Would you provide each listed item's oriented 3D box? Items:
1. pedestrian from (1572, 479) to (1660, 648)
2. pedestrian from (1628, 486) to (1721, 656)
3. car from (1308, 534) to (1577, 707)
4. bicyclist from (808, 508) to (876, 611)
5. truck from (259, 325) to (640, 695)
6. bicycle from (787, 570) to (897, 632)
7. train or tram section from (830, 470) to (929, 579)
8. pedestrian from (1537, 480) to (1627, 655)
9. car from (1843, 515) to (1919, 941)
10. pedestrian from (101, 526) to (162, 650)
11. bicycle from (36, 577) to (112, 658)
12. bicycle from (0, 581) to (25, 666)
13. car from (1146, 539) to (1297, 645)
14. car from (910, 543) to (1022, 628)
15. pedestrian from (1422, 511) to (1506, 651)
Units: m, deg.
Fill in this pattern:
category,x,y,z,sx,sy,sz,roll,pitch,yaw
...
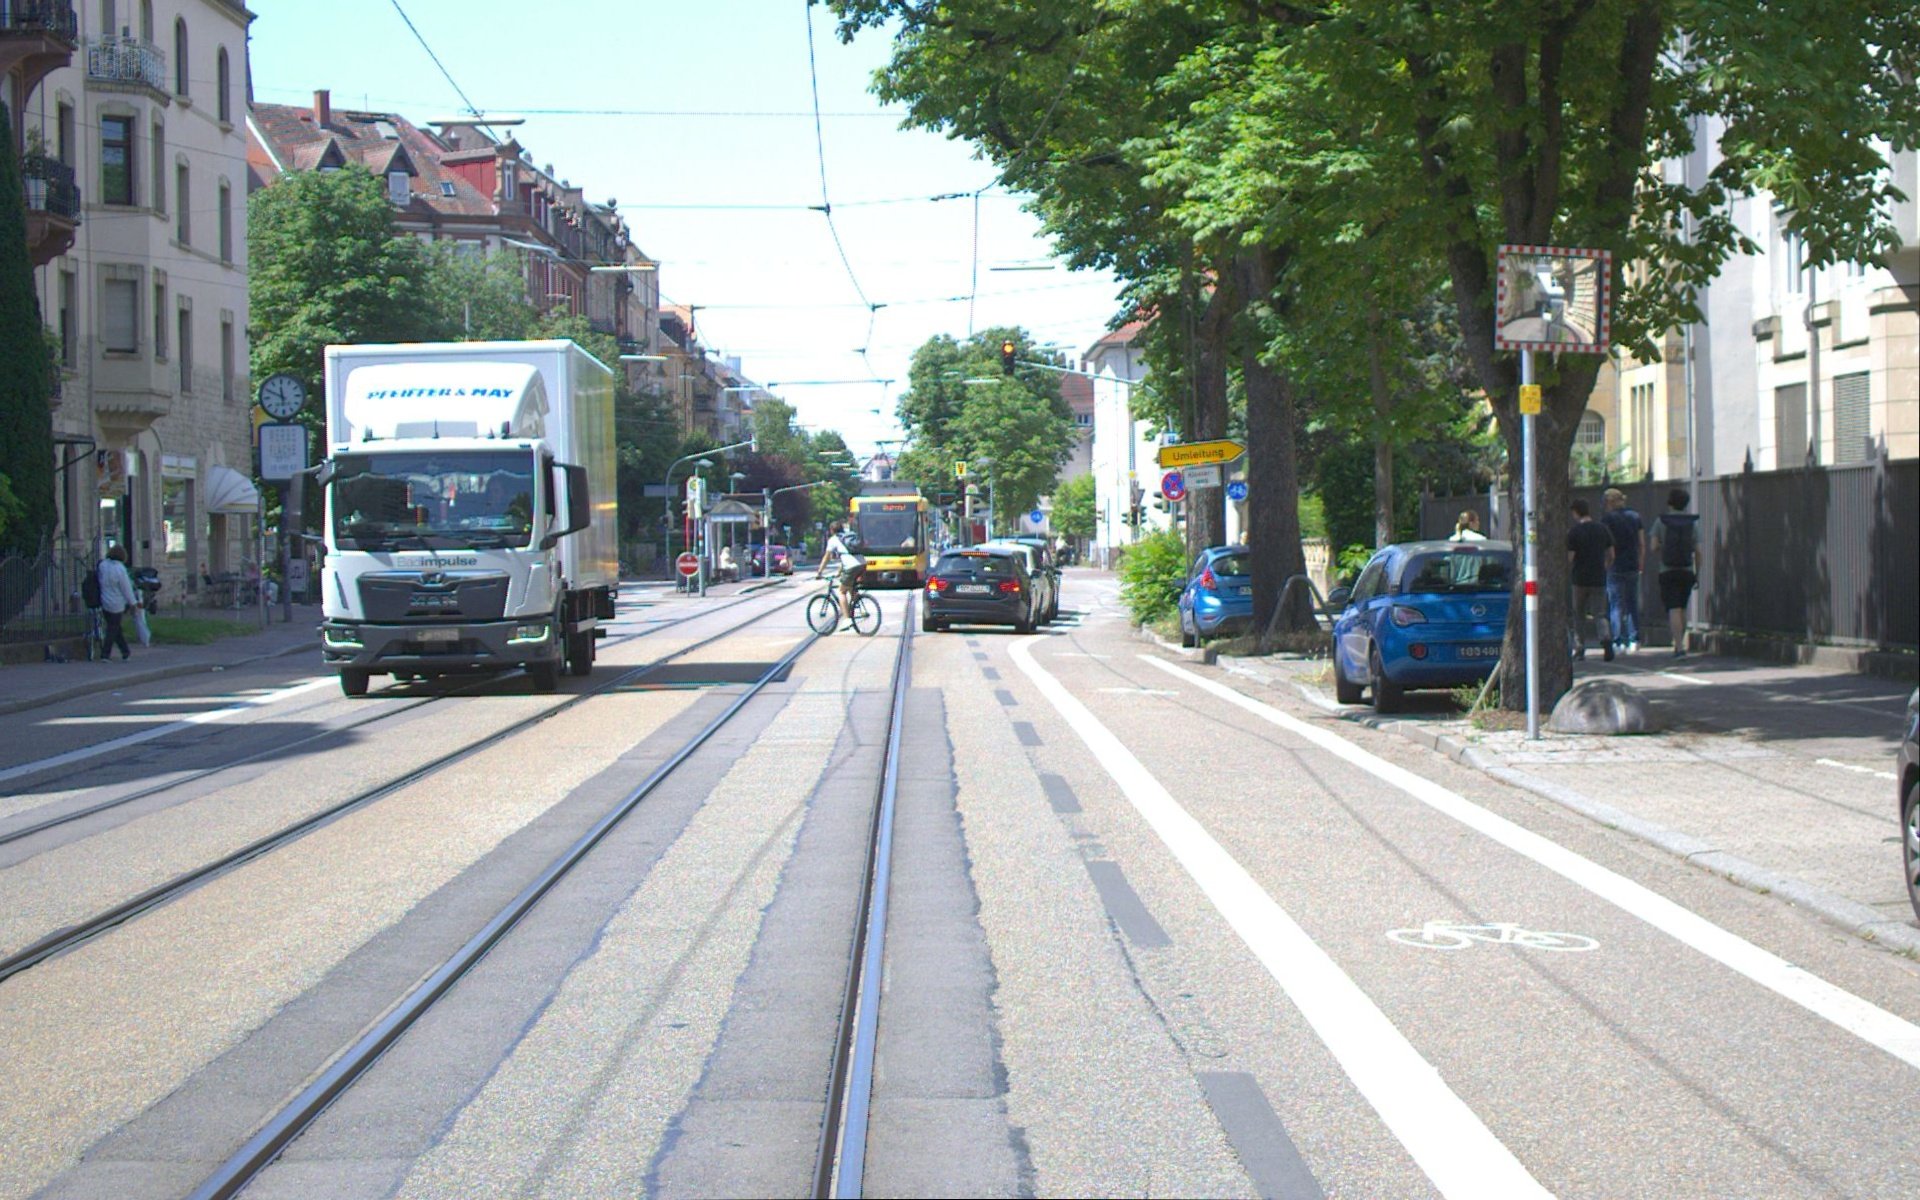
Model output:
category,x,y,z,sx,sy,sz,roll,pitch,yaw
pedestrian,7.304,-0.399,38.310,0.808,1.853,0.623,-1,-1,-2
pedestrian,7.532,-0.306,36.272,0.808,1.769,0.623,-1,-1,-2
car,4.310,0.151,31.283,1.710,1.418,4.310,-1,1,-1
bicyclist,-1.864,-0.632,54.254,0.864,1.610,0.622,0,-1,41
truck,-5.351,-0.980,37.653,2.939,3.538,8.453,-1,1,-1
bicycle,-1.864,0.014,54.264,1.779,0.966,0.639,0,-1,41
train or tram section,-2.614,-2.539,115.697,3.035,3.426,11.971,-1,1,0
pedestrian,6.664,-0.344,36.851,0.808,1.853,0.576,-1,-1,-2
car,4.435,0.476,11.971,1.592,1.611,3.908,-1,1,-1
pedestrian,-10.893,-0.168,45.227,0.572,1.610,0.817,-1,1,0
bicycle,-11.511,0.214,44.714,0.543,0.966,1.781,1,2,0
bicycle,-11.474,0.277,40.311,0.543,0.966,1.781,1,1,0
car,3.723,-0.130,49.490,1.710,1.418,4.310,-1,1,-1
car,0.081,-0.261,57.157,1.781,1.341,3.416,-1,1,0
pedestrian,5.563,-0.204,37.907,0.809,1.525,0.623,-1,-1,17
